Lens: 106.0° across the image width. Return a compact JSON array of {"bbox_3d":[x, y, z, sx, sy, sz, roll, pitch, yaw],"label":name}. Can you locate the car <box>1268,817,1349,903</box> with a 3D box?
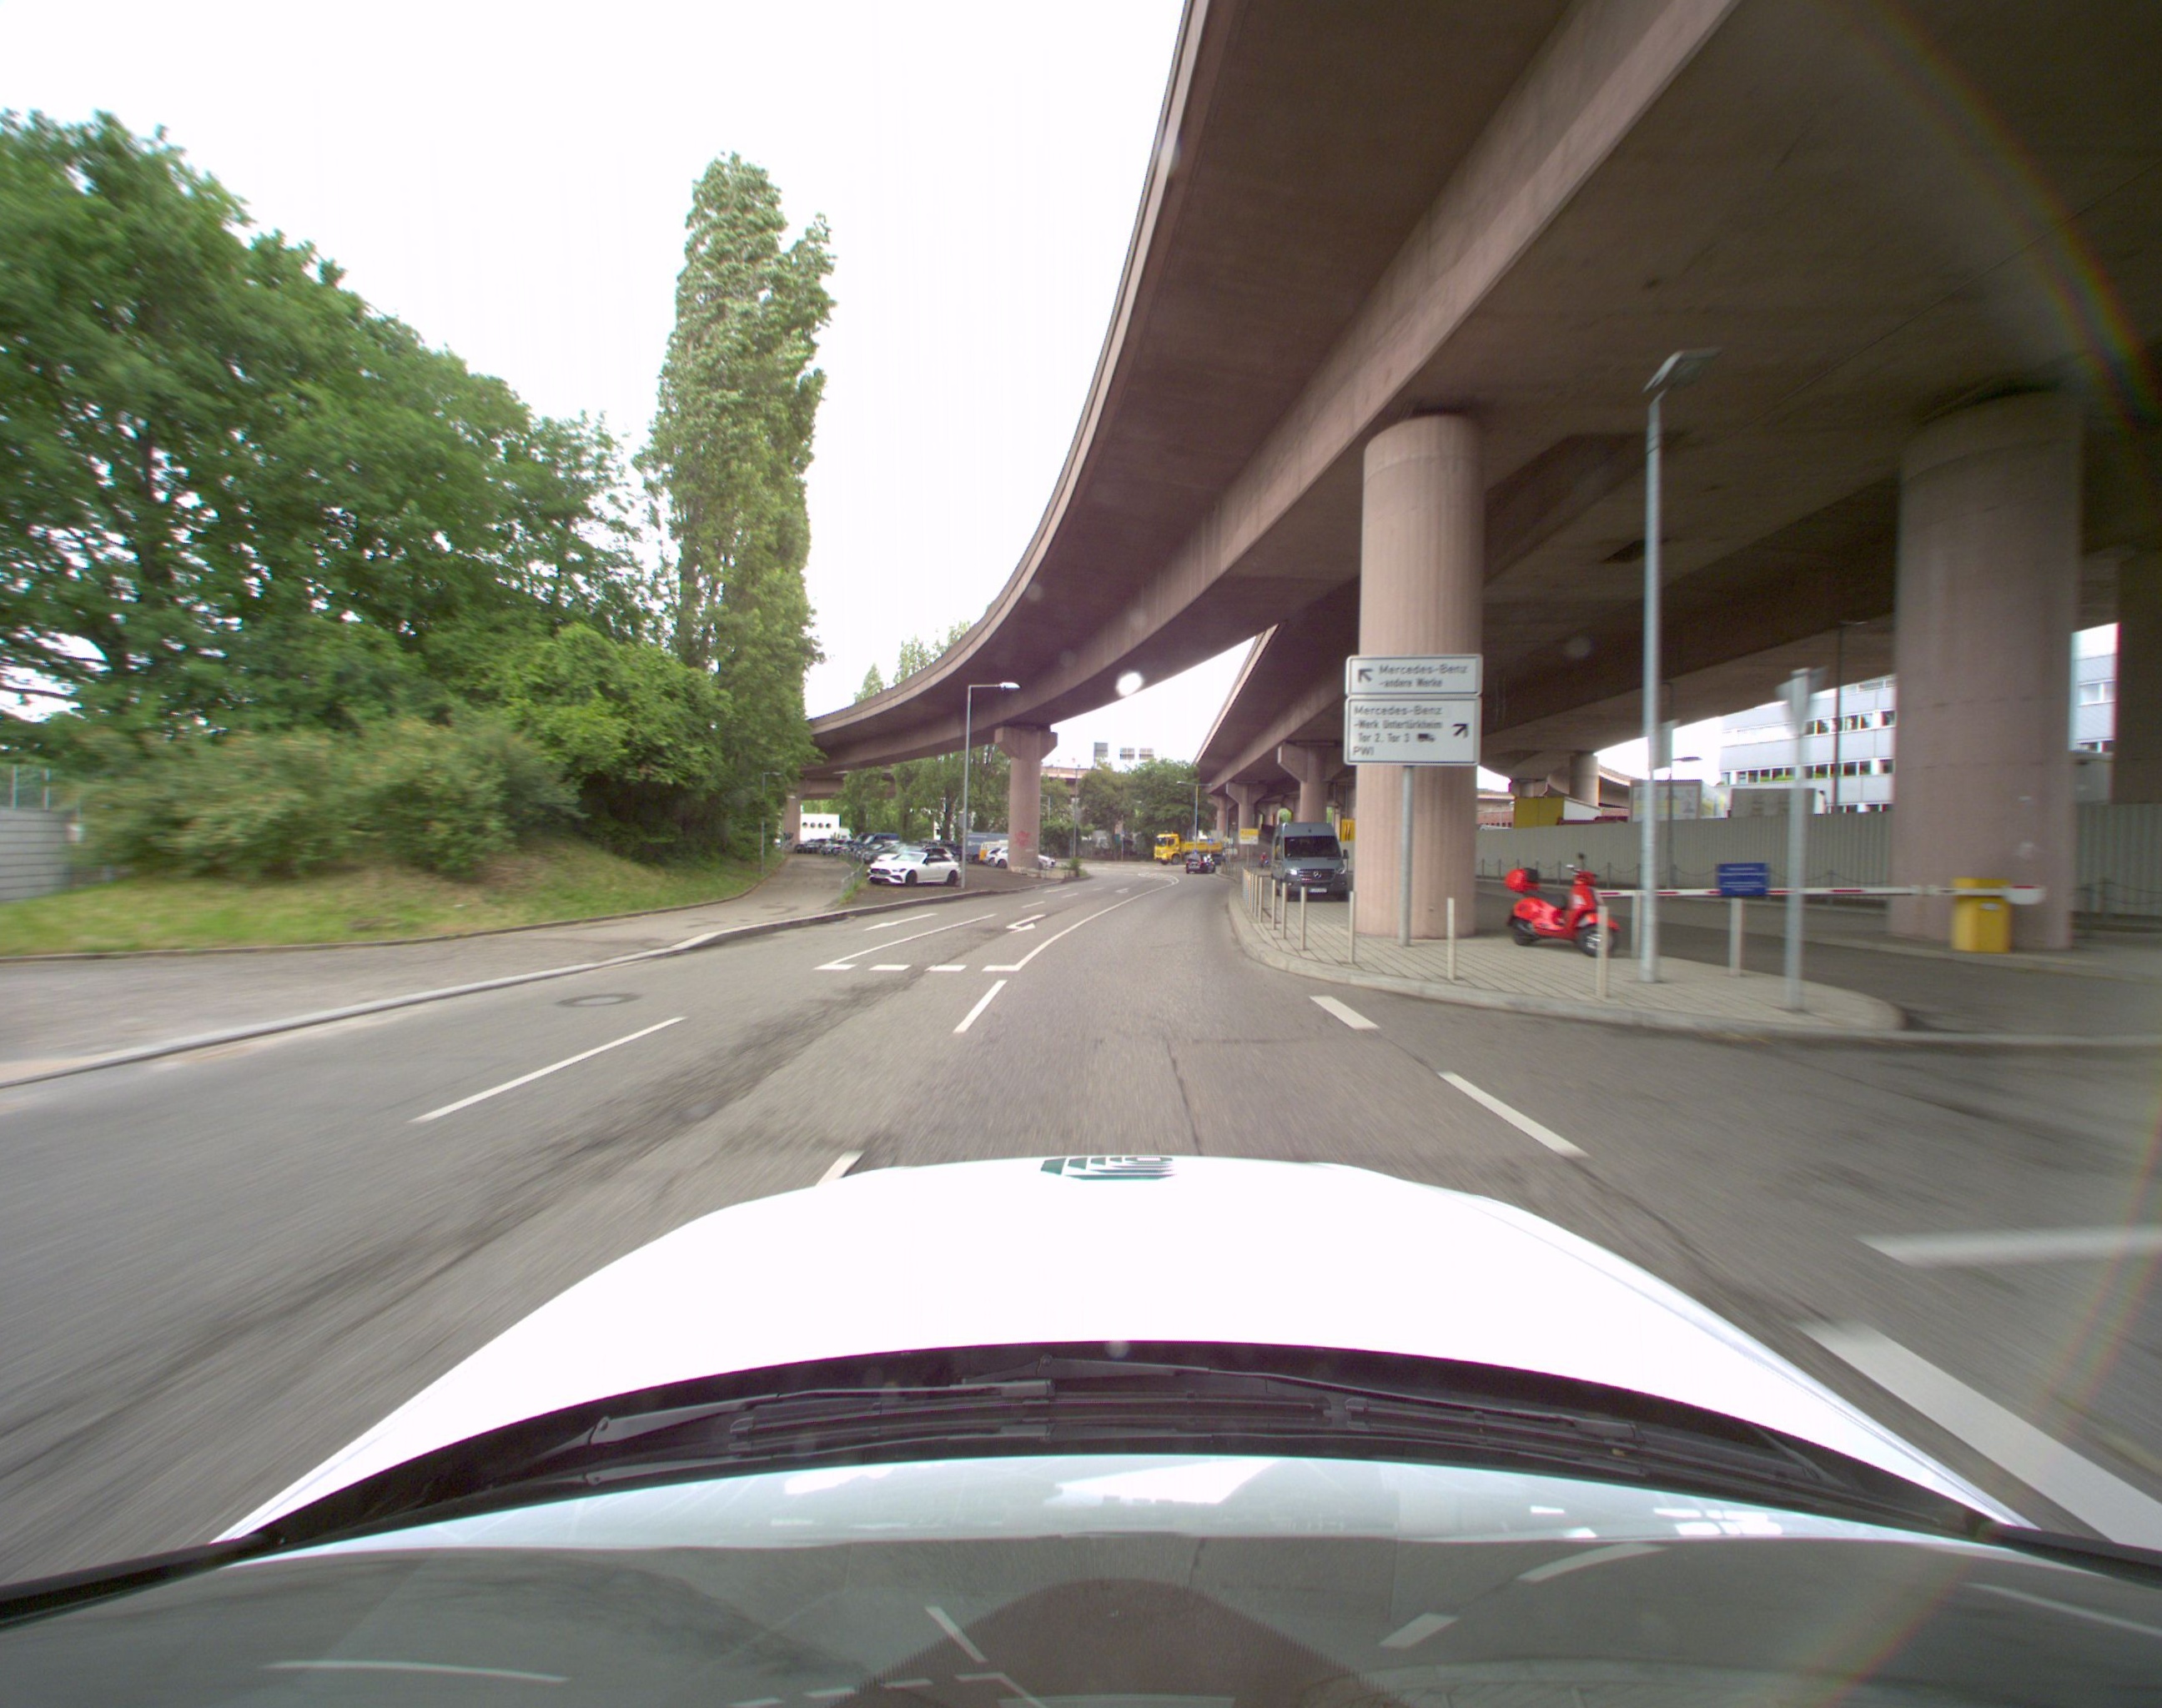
[{"bbox_3d":[7.599,0.165,27.763,1.982,2.613,6.090,0,0,9],"label":"car"}]

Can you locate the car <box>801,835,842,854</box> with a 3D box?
[{"bbox_3d":[-26.756,-0.949,83.960,1.639,1.712,4.103,4,0,22],"label":"car"}]

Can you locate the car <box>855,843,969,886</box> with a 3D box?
[{"bbox_3d":[-6.872,0.494,33.741,1.976,1.479,4.855,5,0,25],"label":"car"}]

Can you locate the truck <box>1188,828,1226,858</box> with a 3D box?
[{"bbox_3d":[18.672,-1.691,121.233,3.068,4.299,8.017,0,2,-12],"label":"truck"}]

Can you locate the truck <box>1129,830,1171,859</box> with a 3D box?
[{"bbox_3d":[9.380,-1.390,112.064,3.072,3.867,8.005,0,2,-16],"label":"truck"}]

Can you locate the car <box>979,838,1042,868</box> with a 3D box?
[{"bbox_3d":[-5.552,-0.092,64.058,4.525,2.111,1.857,2,0,12],"label":"car"}]

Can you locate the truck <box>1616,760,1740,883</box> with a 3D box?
[{"bbox_3d":[27.492,-1.347,37.248,9.782,4.923,3.109,0,0,-45],"label":"truck"}]

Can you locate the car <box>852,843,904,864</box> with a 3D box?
[{"bbox_3d":[-14.279,-0.021,57.369,1.629,1.441,3.755,0,0,22],"label":"car"}]

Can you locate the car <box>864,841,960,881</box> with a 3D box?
[{"bbox_3d":[-7.749,0.375,37.803,1.976,1.582,4.425,5,1,25],"label":"car"}]

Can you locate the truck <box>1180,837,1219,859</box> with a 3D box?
[{"bbox_3d":[16.540,-0.933,114.310,2.922,2.898,6.523,0,2,-16],"label":"truck"}]

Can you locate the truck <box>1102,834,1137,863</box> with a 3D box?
[{"bbox_3d":[5.418,-0.770,116.974,3.071,3.963,6.888,1,0,-15],"label":"truck"}]

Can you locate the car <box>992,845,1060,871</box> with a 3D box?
[{"bbox_3d":[-3.890,0.252,58.213,4.347,1.605,1.963,3,1,17],"label":"car"}]

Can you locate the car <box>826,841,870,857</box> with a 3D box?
[{"bbox_3d":[-21.877,-0.454,76.649,1.771,1.474,3.911,0,0,27],"label":"car"}]

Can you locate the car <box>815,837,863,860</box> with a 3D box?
[{"bbox_3d":[-23.444,-0.553,78.975,1.823,1.800,4.329,-1,4,29],"label":"car"}]

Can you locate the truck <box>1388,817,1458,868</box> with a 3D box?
[{"bbox_3d":[34.242,-1.076,81.442,8.766,4.903,3.110,1,0,-43],"label":"truck"}]

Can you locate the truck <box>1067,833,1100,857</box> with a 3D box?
[{"bbox_3d":[0.407,-1.519,133.213,3.064,3.618,7.868,0,2,-18],"label":"truck"}]

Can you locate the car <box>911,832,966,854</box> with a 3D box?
[{"bbox_3d":[-14.697,-1.116,83.858,5.061,2.072,2.264,1,-1,8],"label":"car"}]

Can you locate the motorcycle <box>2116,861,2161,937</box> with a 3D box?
[{"bbox_3d":[18.416,0.788,13.007,0.778,1.234,2.543,0,2,8],"label":"motorcycle"}]

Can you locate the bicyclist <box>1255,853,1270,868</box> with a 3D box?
[{"bbox_3d":[16.704,0.572,75.007,0.800,1.405,1.057,-1,0,-26],"label":"bicyclist"}]

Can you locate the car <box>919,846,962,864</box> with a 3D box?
[{"bbox_3d":[-13.566,0.101,78.817,3.983,1.730,1.995,0,0,-7],"label":"car"}]

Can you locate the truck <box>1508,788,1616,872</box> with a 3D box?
[{"bbox_3d":[28.462,-1.300,47.932,9.782,4.443,3.109,0,0,-45],"label":"truck"}]

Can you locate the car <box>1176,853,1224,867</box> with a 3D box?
[{"bbox_3d":[12.783,0.629,87.352,4.952,1.502,2.151,0,0,-34],"label":"car"}]

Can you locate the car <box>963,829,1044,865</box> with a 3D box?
[{"bbox_3d":[-6.339,-0.579,66.786,6.142,2.724,2.373,2,1,7],"label":"car"}]

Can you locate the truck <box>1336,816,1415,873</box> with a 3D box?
[{"bbox_3d":[27.129,-0.823,74.714,8.766,4.917,3.110,1,0,-43],"label":"truck"}]

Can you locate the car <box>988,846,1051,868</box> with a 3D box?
[{"bbox_3d":[-4.610,0.183,61.325,4.213,1.371,2.008,3,1,15],"label":"car"}]

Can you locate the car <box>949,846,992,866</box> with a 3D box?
[{"bbox_3d":[-10.309,0.180,76.107,3.983,1.740,2.016,0,0,-7],"label":"car"}]

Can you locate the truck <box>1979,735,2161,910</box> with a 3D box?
[{"bbox_3d":[29.391,-0.803,24.455,10.356,4.303,2.976,0,0,-44],"label":"truck"}]

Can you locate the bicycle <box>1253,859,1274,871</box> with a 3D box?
[{"bbox_3d":[16.777,0.992,74.866,0.806,1.097,2.113,-1,0,-26],"label":"bicycle"}]

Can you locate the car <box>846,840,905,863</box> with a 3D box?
[{"bbox_3d":[-15.285,-0.199,60.862,1.877,1.675,4.180,0,0,30],"label":"car"}]

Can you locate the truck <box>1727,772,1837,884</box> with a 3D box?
[{"bbox_3d":[30.027,-0.986,34.689,9.987,4.158,2.779,0,0,-45],"label":"truck"}]

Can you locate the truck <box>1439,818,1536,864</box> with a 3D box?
[{"bbox_3d":[29.097,-0.944,58.064,8.766,2.944,3.109,-2,-1,-42],"label":"truck"}]

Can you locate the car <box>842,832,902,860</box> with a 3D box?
[{"bbox_3d":[-17.492,-0.684,68.298,2.098,2.254,5.047,0,0,25],"label":"car"}]

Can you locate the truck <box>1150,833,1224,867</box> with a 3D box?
[{"bbox_3d":[12.031,-0.496,92.199,8.268,3.480,2.910,-1,4,-30],"label":"truck"}]

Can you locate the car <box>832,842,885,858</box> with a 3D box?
[{"bbox_3d":[-20.102,-0.358,73.692,1.975,1.435,4.674,0,0,28],"label":"car"}]

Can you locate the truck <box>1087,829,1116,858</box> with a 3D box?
[{"bbox_3d":[3.306,-1.860,136.720,3.205,4.779,8.018,0,2,-11],"label":"truck"}]

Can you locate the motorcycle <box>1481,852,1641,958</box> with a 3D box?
[{"bbox_3d":[6.926,0.678,11.904,0.796,1.366,2.121,0,1,-12],"label":"motorcycle"}]

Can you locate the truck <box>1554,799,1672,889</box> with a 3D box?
[{"bbox_3d":[27.819,-0.477,42.291,10.123,4.183,2.863,0,0,-44],"label":"truck"}]

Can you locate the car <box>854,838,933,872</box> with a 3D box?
[{"bbox_3d":[-10.089,0.065,44.169,1.839,1.691,4.189,2,0,28],"label":"car"}]

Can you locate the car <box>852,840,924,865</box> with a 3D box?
[{"bbox_3d":[-12.831,-0.110,54.504,1.840,1.487,4.918,4,2,28],"label":"car"}]

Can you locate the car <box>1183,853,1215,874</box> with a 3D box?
[{"bbox_3d":[10.300,0.798,70.979,1.978,1.679,4.582,2,1,18],"label":"car"}]
